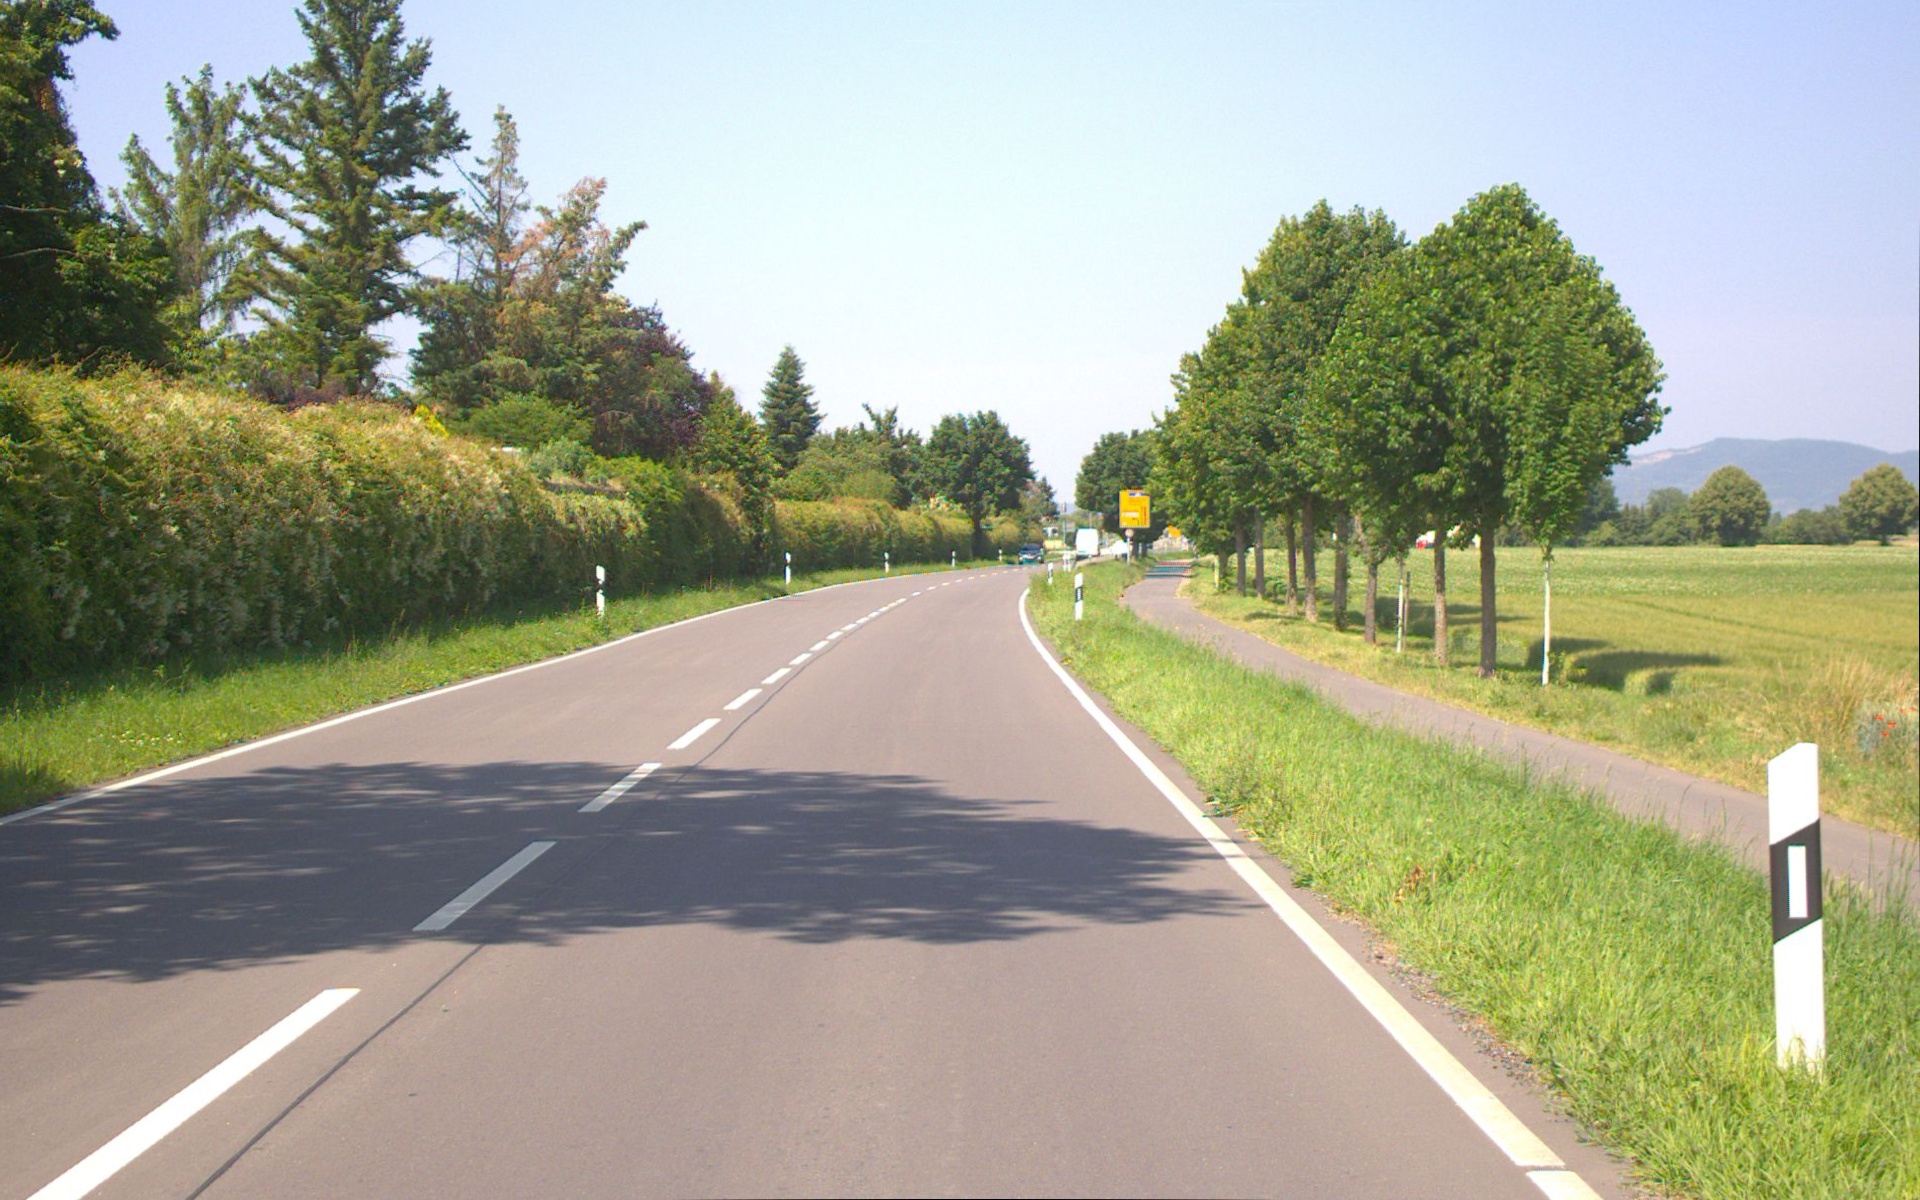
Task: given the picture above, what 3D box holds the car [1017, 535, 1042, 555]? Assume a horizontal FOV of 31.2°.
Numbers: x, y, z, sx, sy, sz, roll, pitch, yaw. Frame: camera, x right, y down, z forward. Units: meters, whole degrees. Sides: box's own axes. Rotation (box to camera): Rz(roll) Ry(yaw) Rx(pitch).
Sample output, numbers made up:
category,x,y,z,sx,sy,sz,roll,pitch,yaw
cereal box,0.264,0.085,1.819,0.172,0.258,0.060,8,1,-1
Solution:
category,x,y,z,sx,sy,sz,roll,pitch,yaw
car,5.154,-4.110,255.559,1.840,1.462,3.933,0,1,1
